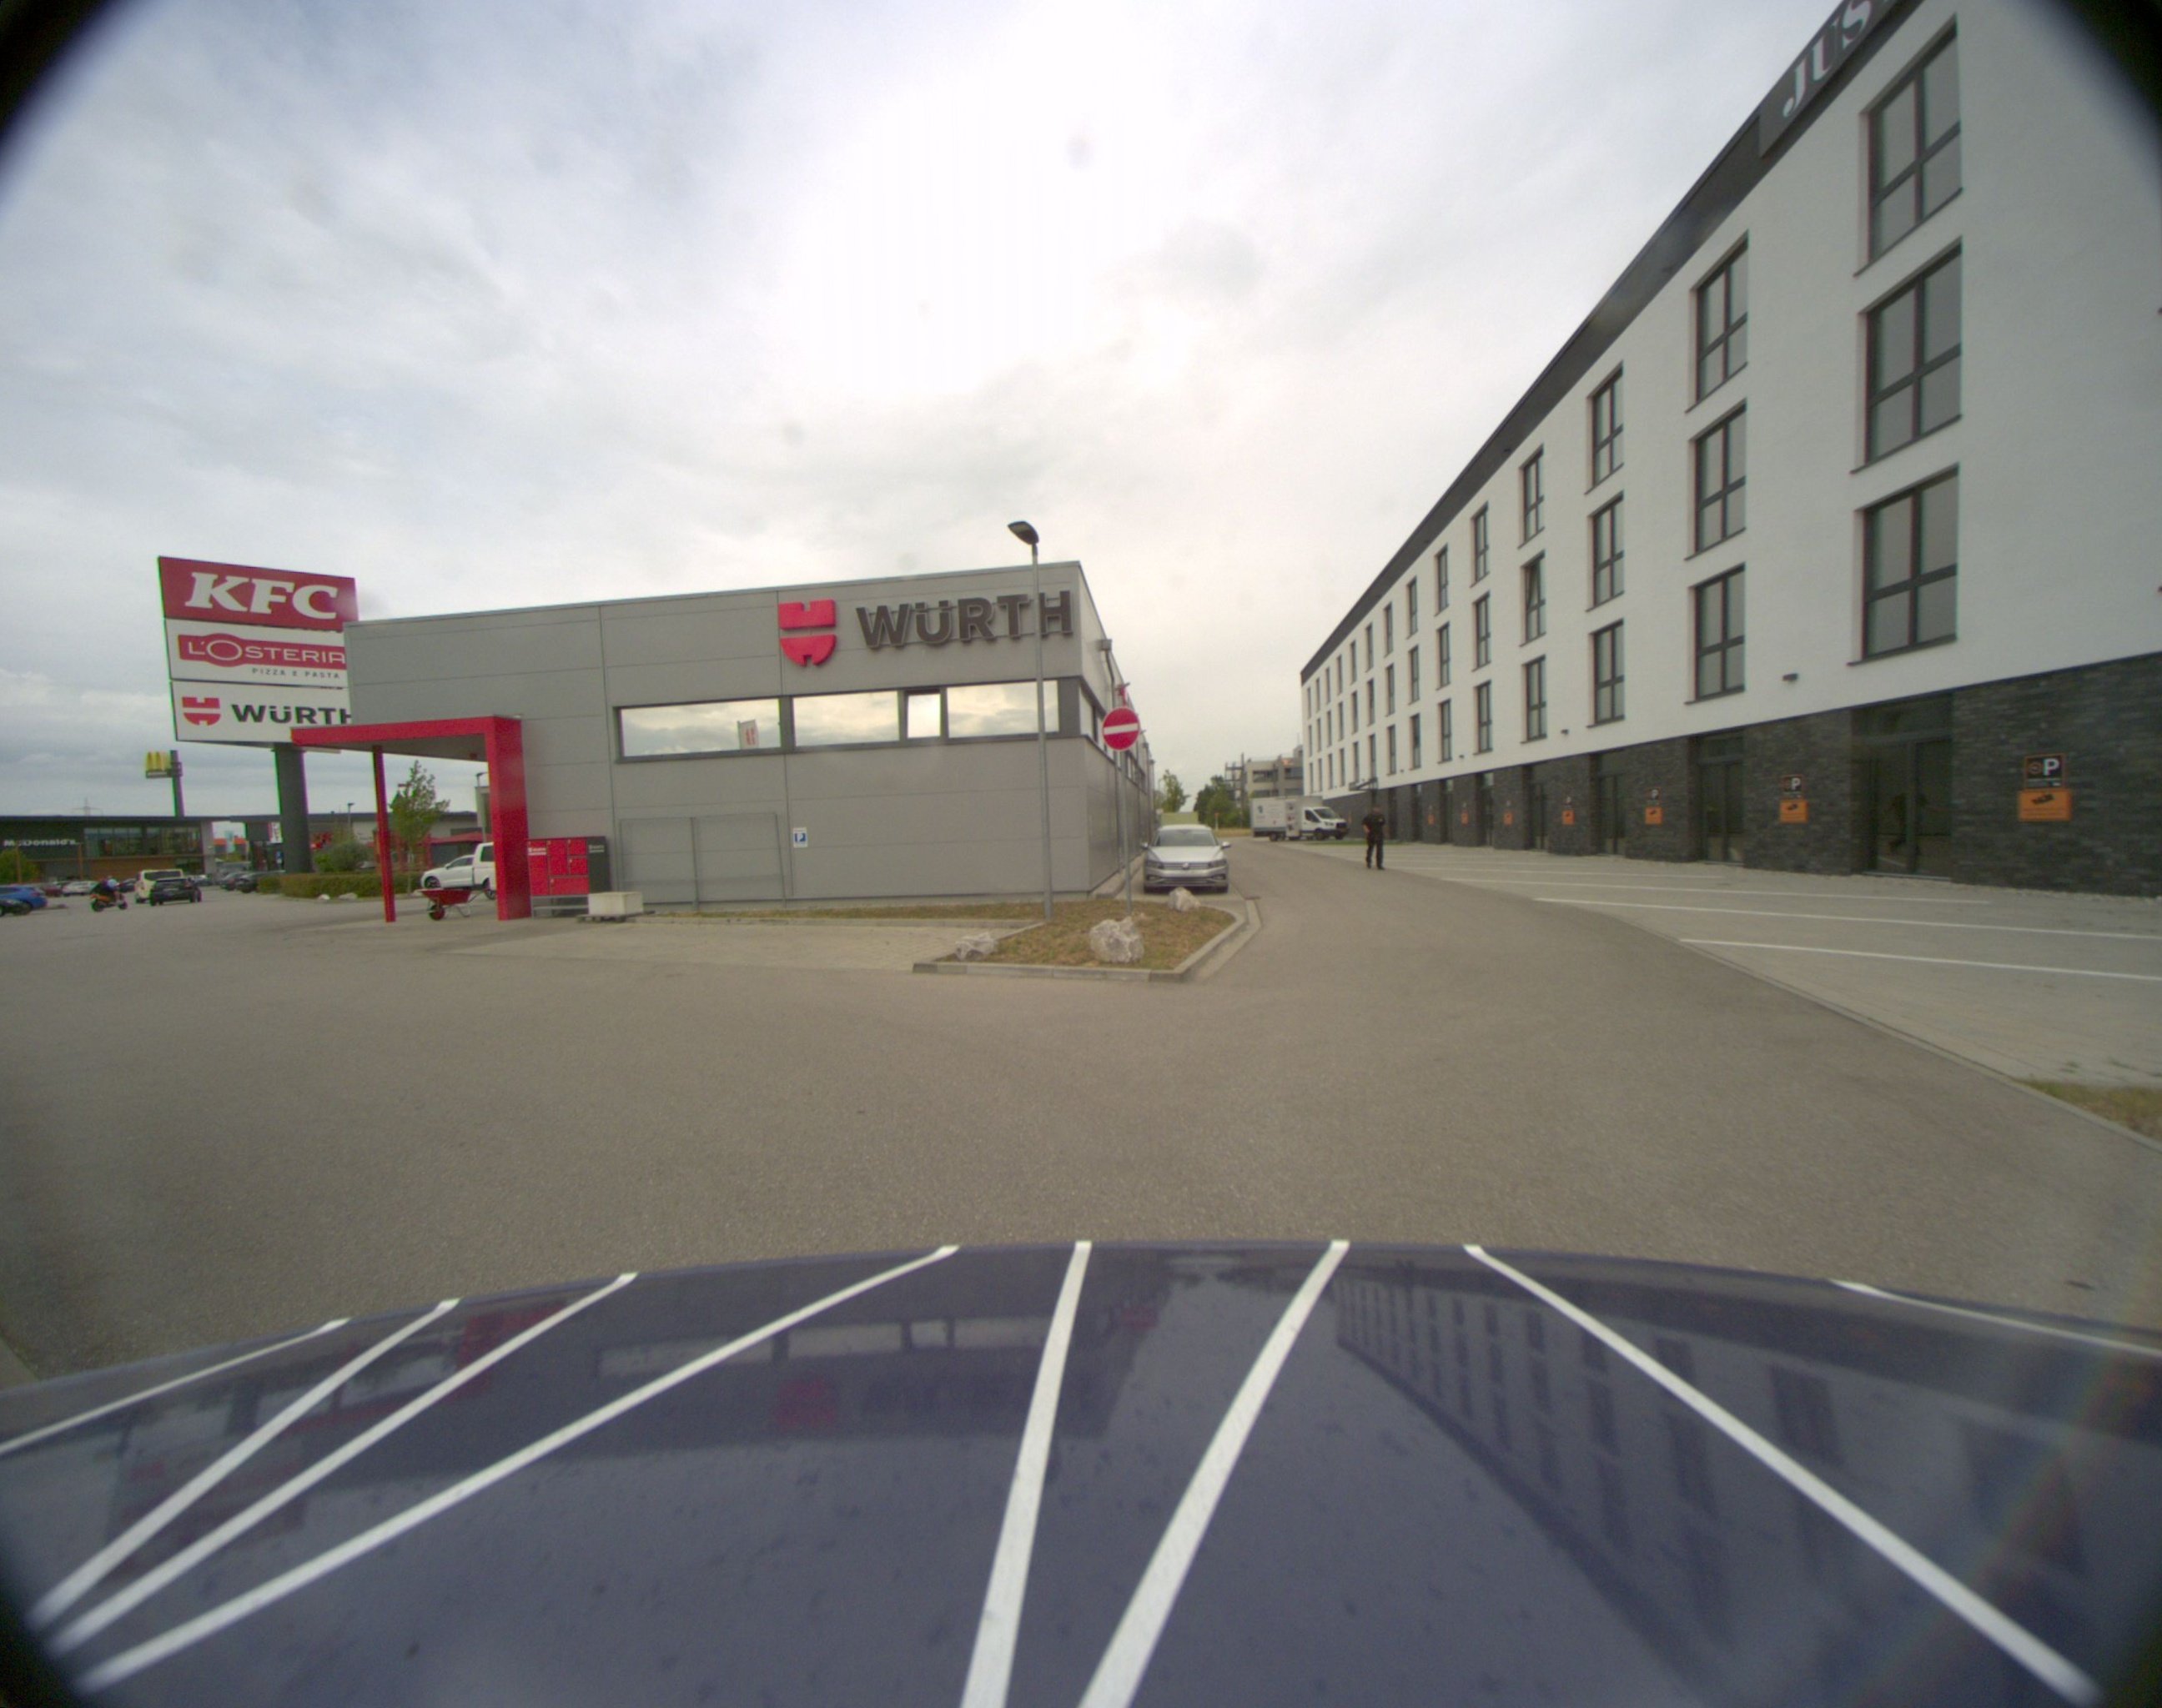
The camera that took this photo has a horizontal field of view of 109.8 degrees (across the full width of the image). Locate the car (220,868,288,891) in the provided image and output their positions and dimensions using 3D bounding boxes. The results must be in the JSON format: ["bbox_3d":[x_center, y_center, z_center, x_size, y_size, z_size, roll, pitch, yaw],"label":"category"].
[{"bbox_3d":[-82.255,2.541,75.637,1.995,1.828,4.004,-2,3,24],"label":"car"}]

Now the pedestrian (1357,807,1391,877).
[{"bbox_3d":[7.863,-0.332,20.414,0.708,1.812,0.813,-2,3,13],"label":"pedestrian"}]

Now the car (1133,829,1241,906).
[{"bbox_3d":[2.644,0.200,17.924,1.977,1.483,4.773,0,3,14],"label":"car"}]

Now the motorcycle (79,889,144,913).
[{"bbox_3d":[-46.648,2.241,36.577,0.556,0.911,1.868,-3,2,5],"label":"motorcycle"}]

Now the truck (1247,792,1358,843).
[{"bbox_3d":[14.334,-2.301,49.770,2.440,3.000,7.051,-5,3,-31],"label":"truck"}]

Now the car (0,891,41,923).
[{"bbox_3d":[-52.529,2.658,35.819,1.805,1.412,4.006,-2,3,37],"label":"car"}]

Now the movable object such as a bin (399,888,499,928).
[{"bbox_3d":[-14.513,1.234,17.516,0.802,0.712,1.585,-3,2,9],"label":"movable object such as a bin"}]

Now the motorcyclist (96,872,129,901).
[{"bbox_3d":[-46.677,1.547,36.626,0.575,1.309,0.673,-3,3,5],"label":"motorcyclist"}]

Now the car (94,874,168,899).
[{"bbox_3d":[-95.558,3.245,76.495,4.003,2.003,1.996,-5,3,-23],"label":"car"}]

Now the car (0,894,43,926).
[{"bbox_3d":[-54.593,2.906,37.388,1.805,1.412,4.006,-2,3,37],"label":"car"}]

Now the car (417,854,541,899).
[{"bbox_3d":[-28.300,1.045,35.756,4.735,1.739,1.759,-3,3,10],"label":"car"}]

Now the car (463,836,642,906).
[{"bbox_3d":[-18.122,0.552,26.197,4.753,2.003,1.937,-3,3,5],"label":"car"}]

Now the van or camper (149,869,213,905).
[{"bbox_3d":[-57.780,2.076,48.863,1.862,2.050,5.219,-6,3,-43],"label":"van or camper"}]

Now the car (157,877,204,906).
[{"bbox_3d":[-48.808,2.010,41.189,3.116,1.439,1.509,-1,2,40],"label":"car"}]
